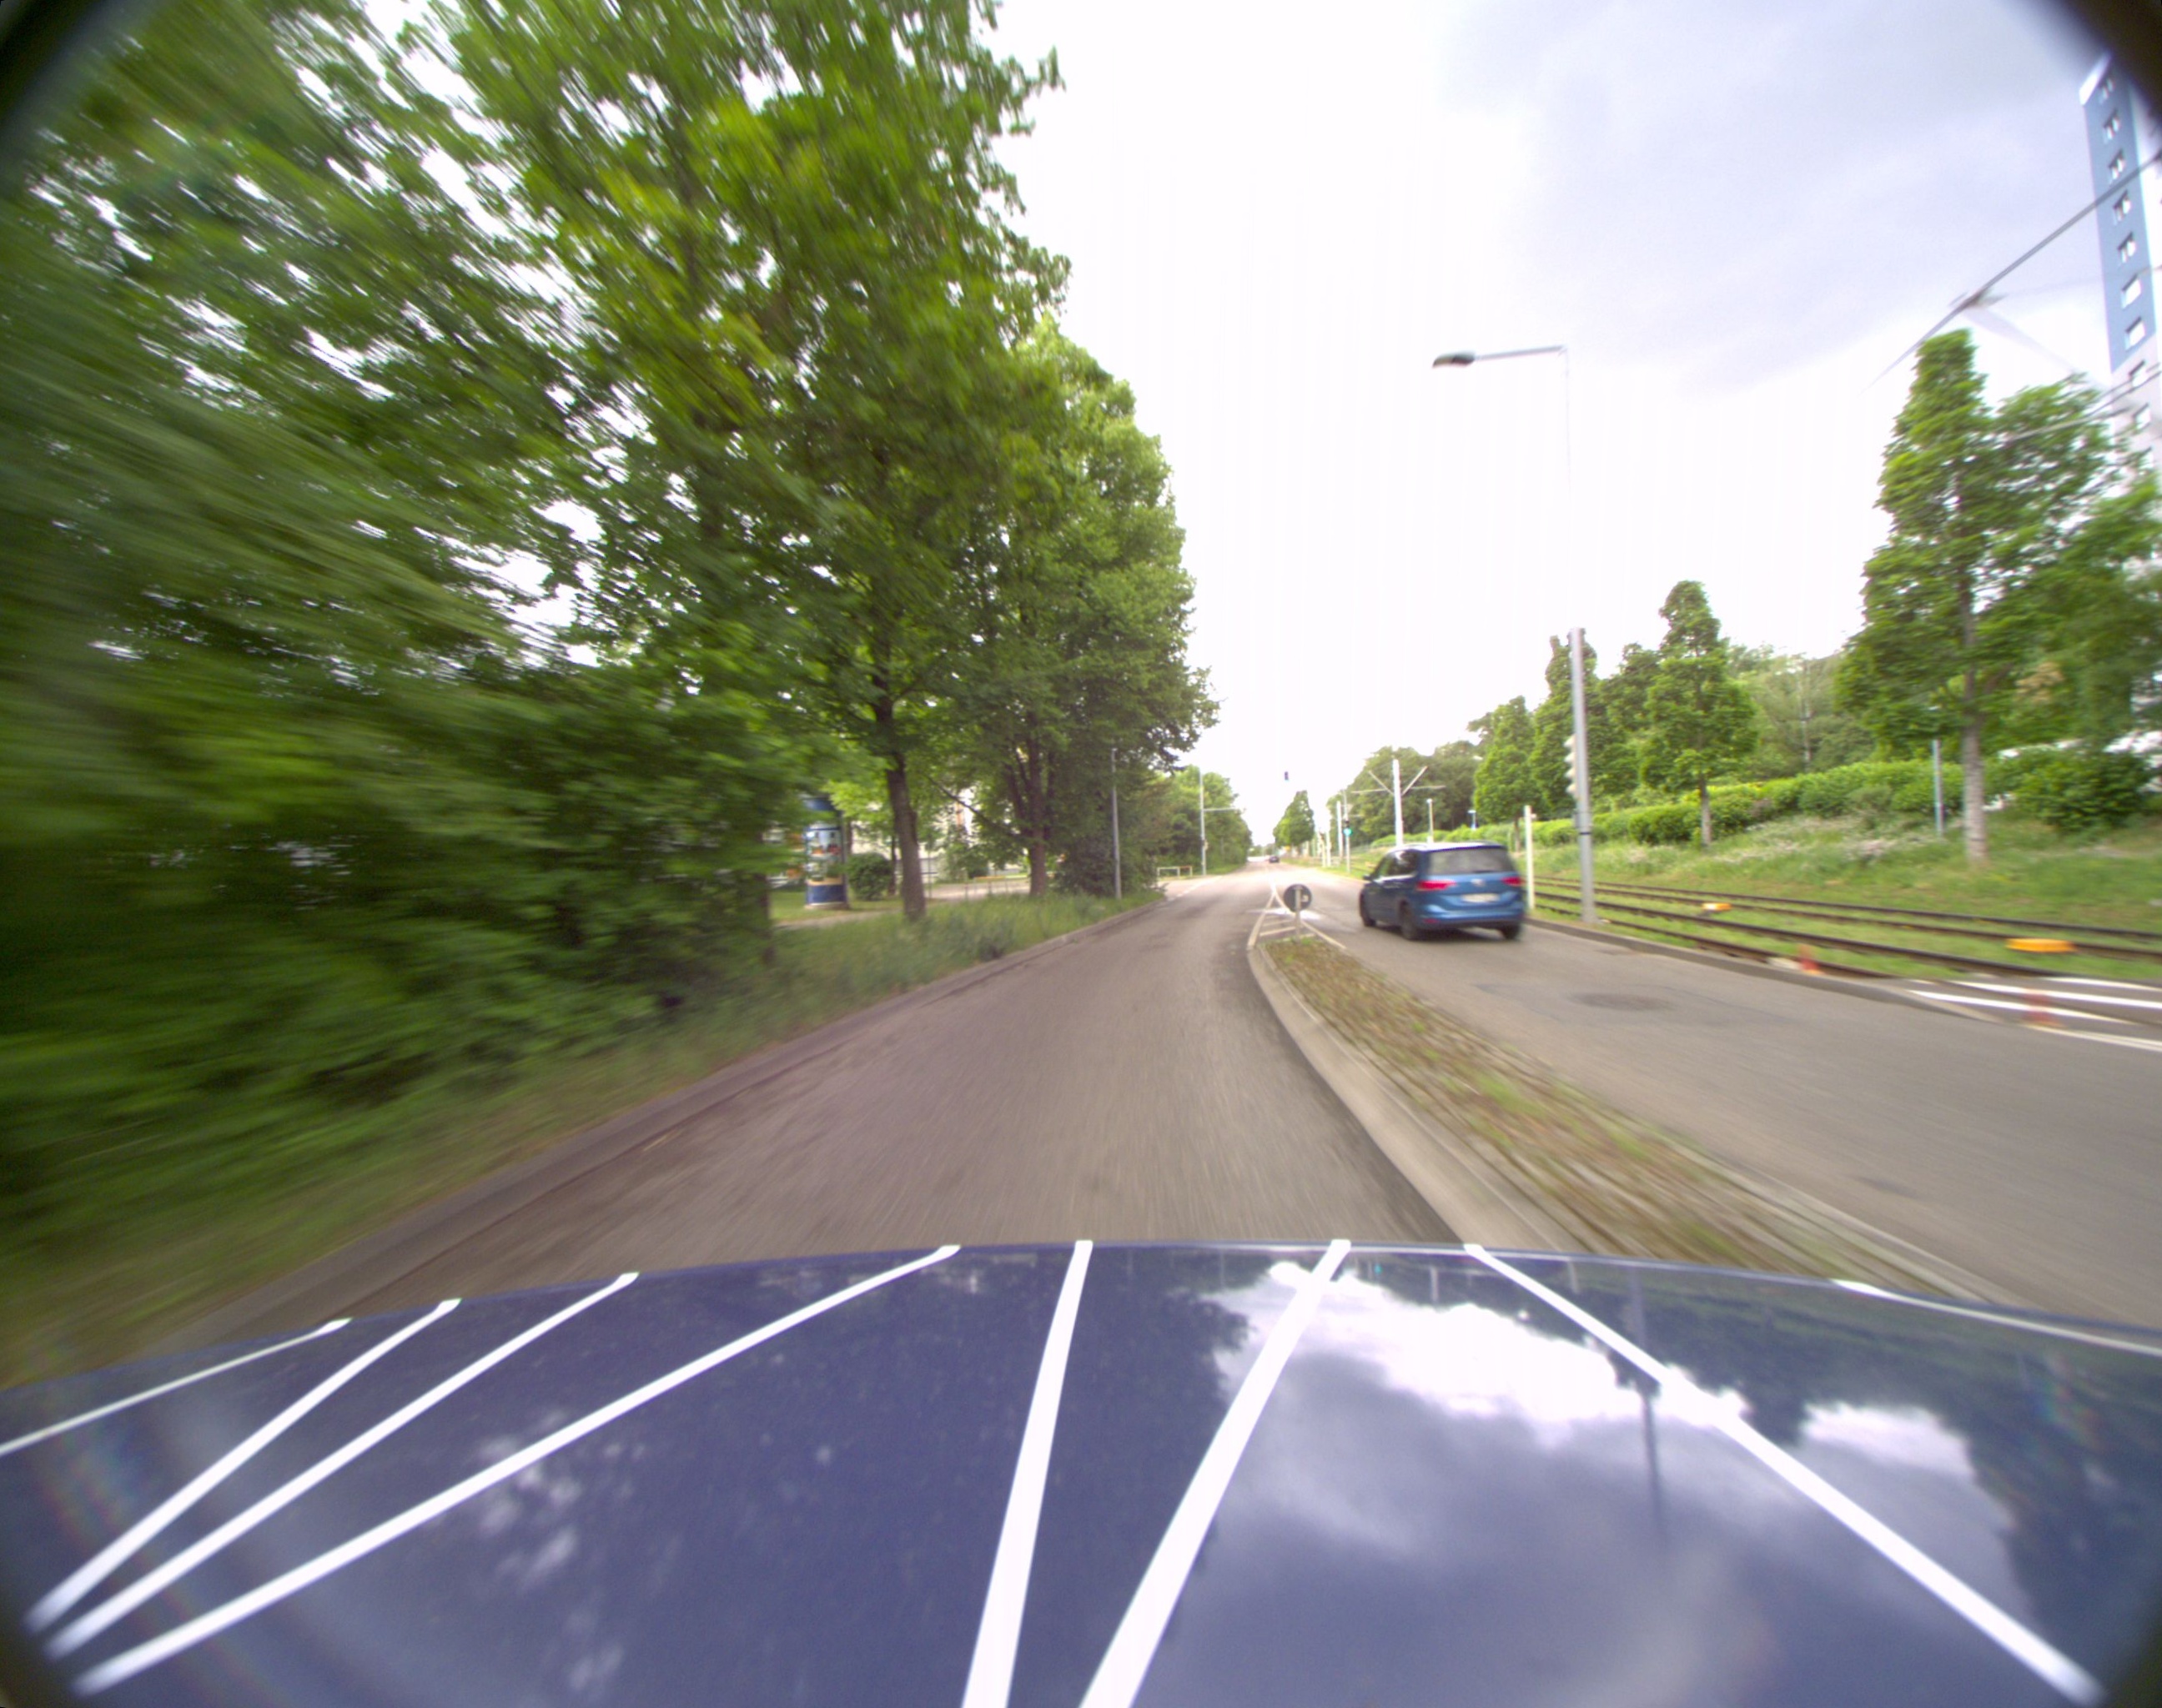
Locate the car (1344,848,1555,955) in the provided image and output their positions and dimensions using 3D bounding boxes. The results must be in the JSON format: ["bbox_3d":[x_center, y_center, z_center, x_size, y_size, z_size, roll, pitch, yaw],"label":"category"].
[{"bbox_3d":[6.281,0.751,13.577,1.871,1.511,4.240,-3,-1,4],"label":"car"}]

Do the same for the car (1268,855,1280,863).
[{"bbox_3d":[34.697,0.911,136.709,1.853,1.461,4.260,-4,-1,13],"label":"car"}]
